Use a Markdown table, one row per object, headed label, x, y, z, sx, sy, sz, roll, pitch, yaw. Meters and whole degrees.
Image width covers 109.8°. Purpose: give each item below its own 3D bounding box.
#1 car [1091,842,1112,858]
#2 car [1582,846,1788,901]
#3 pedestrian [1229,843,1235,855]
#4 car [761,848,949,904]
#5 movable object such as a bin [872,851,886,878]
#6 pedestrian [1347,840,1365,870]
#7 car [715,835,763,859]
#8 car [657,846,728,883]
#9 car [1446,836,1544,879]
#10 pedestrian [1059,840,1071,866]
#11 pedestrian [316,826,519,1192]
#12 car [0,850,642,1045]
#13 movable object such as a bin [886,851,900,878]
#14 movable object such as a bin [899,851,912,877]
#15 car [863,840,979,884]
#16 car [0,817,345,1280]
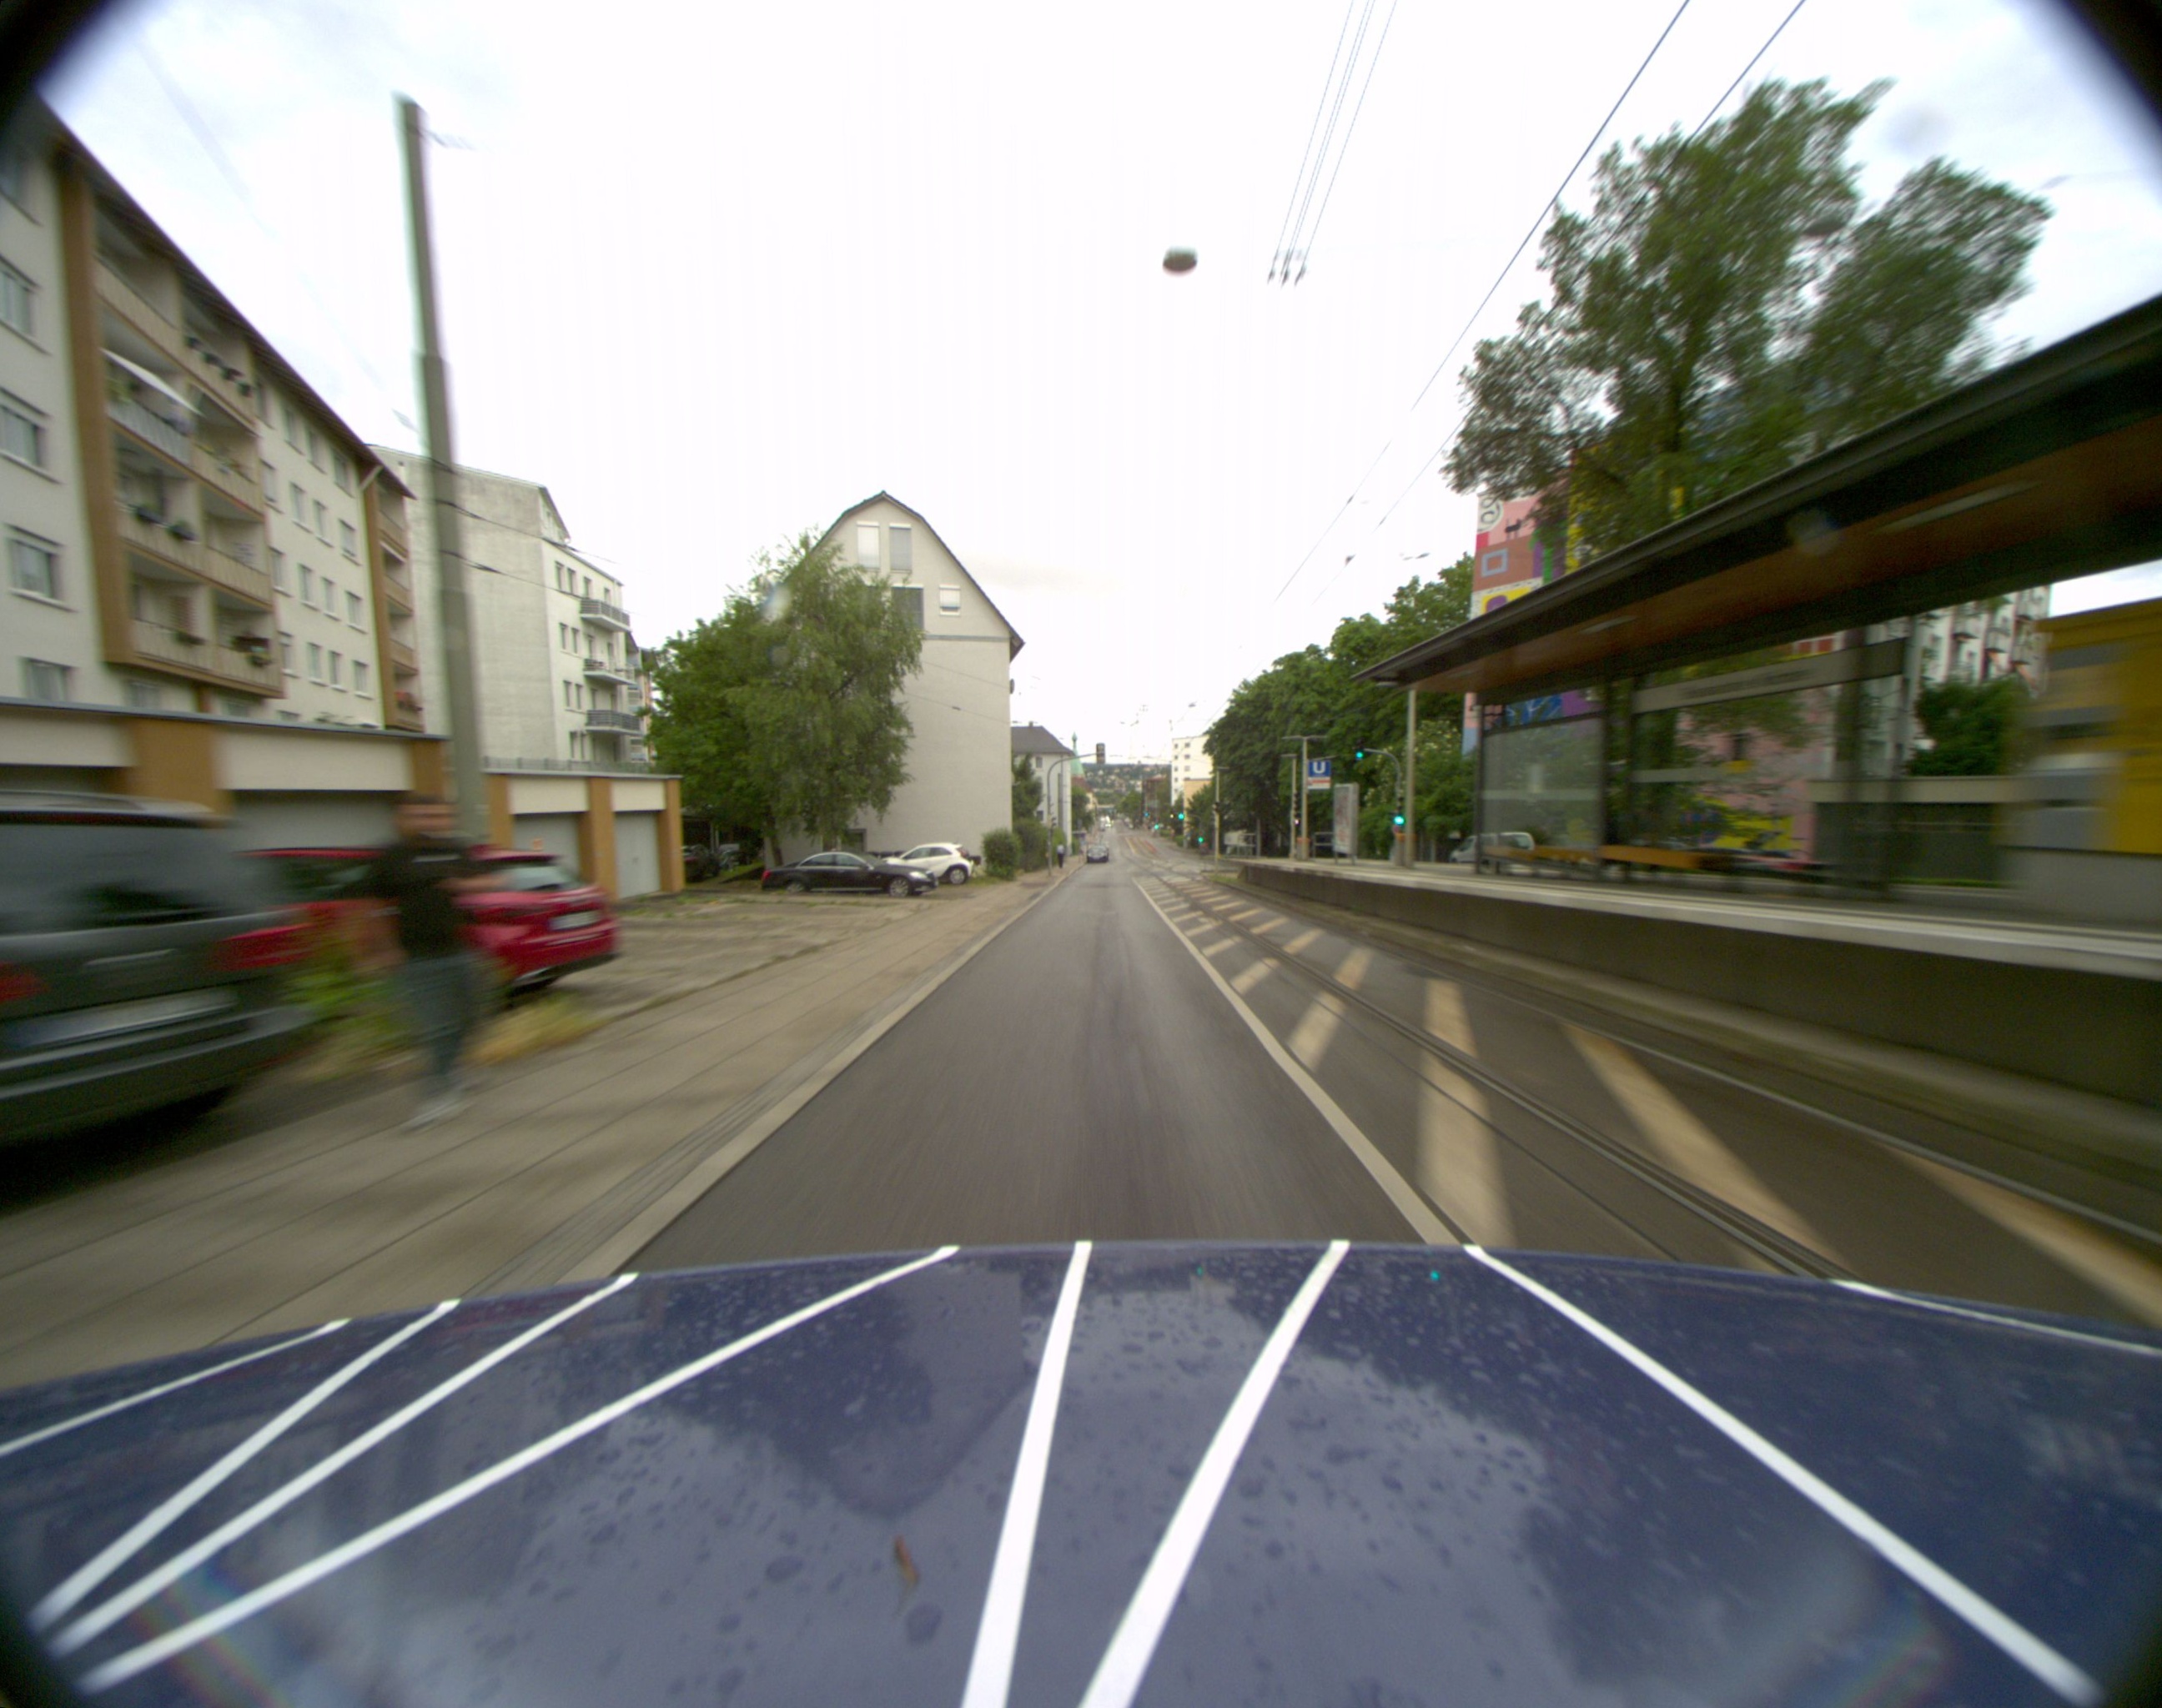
| label | x | y | z | sx | sy | sz | roll | pitch | yaw |
| --- | --- | --- | --- | --- | --- | --- | --- | --- | --- |
| car | 1.871 | -0.357 | 68.914 | 1.725 | 1.350 | 4.001 | -1 | 0 | 3 |
| car | 17.939 | 0.531 | 22.870 | 4.482 | 1.533 | 1.948 | 0 | 0 | 22 |
| pedestrian | 16.976 | -0.552 | 85.433 | 0.529 | 1.418 | 0.529 | -2 | 1 | 4 |
| car | -6.627 | 0.631 | 22.627 | 4.943 | 1.428 | 1.974 | -2 | 1 | 2 |
| movable object such as a bin | -8.557 | 0.436 | 32.182 | 0.517 | 1.105 | 0.642 | 0 | 0 | -12 |
| pedestrian | 14.617 | 0.058 | 40.371 | 0.754 | 1.584 | 0.617 | -2 | 1 | 4 |
| car | -19.865 | -0.390 | 44.268 | 1.656 | 1.329 | 3.836 | -2 | 0 | -10 |
| car | -17.428 | 0.451 | 34.296 | 1.690 | 1.502 | 3.996 | -2 | 0 | -10 |
| car | 17.446 | 0.147 | 32.267 | 1.751 | 1.707 | 4.441 | 0 | 0 | 0 |
| pedestrian | -1.035 | -0.055 | 48.513 | 0.657 | 1.611 | 0.630 | 1 | 1 | 7 |
| pedestrian | -3.462 | 0.723 | 3.994 | 0.723 | 1.704 | 0.606 | 2 | 0 | -42 |
| car | -6.771 | 0.725 | 6.862 | 4.580 | 1.429 | 1.765 | 1 | 1 | 1 |
| movable object such as a bin | -7.990 | 0.447 | 32.293 | 0.517 | 1.105 | 0.642 | 0 | 0 | -12 |
| movable object such as a bin | -7.484 | 0.437 | 32.474 | 0.517 | 1.105 | 0.642 | 0 | 0 | -12 |
| car | -5.918 | 0.263 | 28.518 | 3.998 | 1.459 | 1.814 | 0 | 5 | -3 |
| car | -6.021 | 0.658 | 3.130 | 4.338 | 1.664 | 1.781 | 1 | -1 | 3 |
